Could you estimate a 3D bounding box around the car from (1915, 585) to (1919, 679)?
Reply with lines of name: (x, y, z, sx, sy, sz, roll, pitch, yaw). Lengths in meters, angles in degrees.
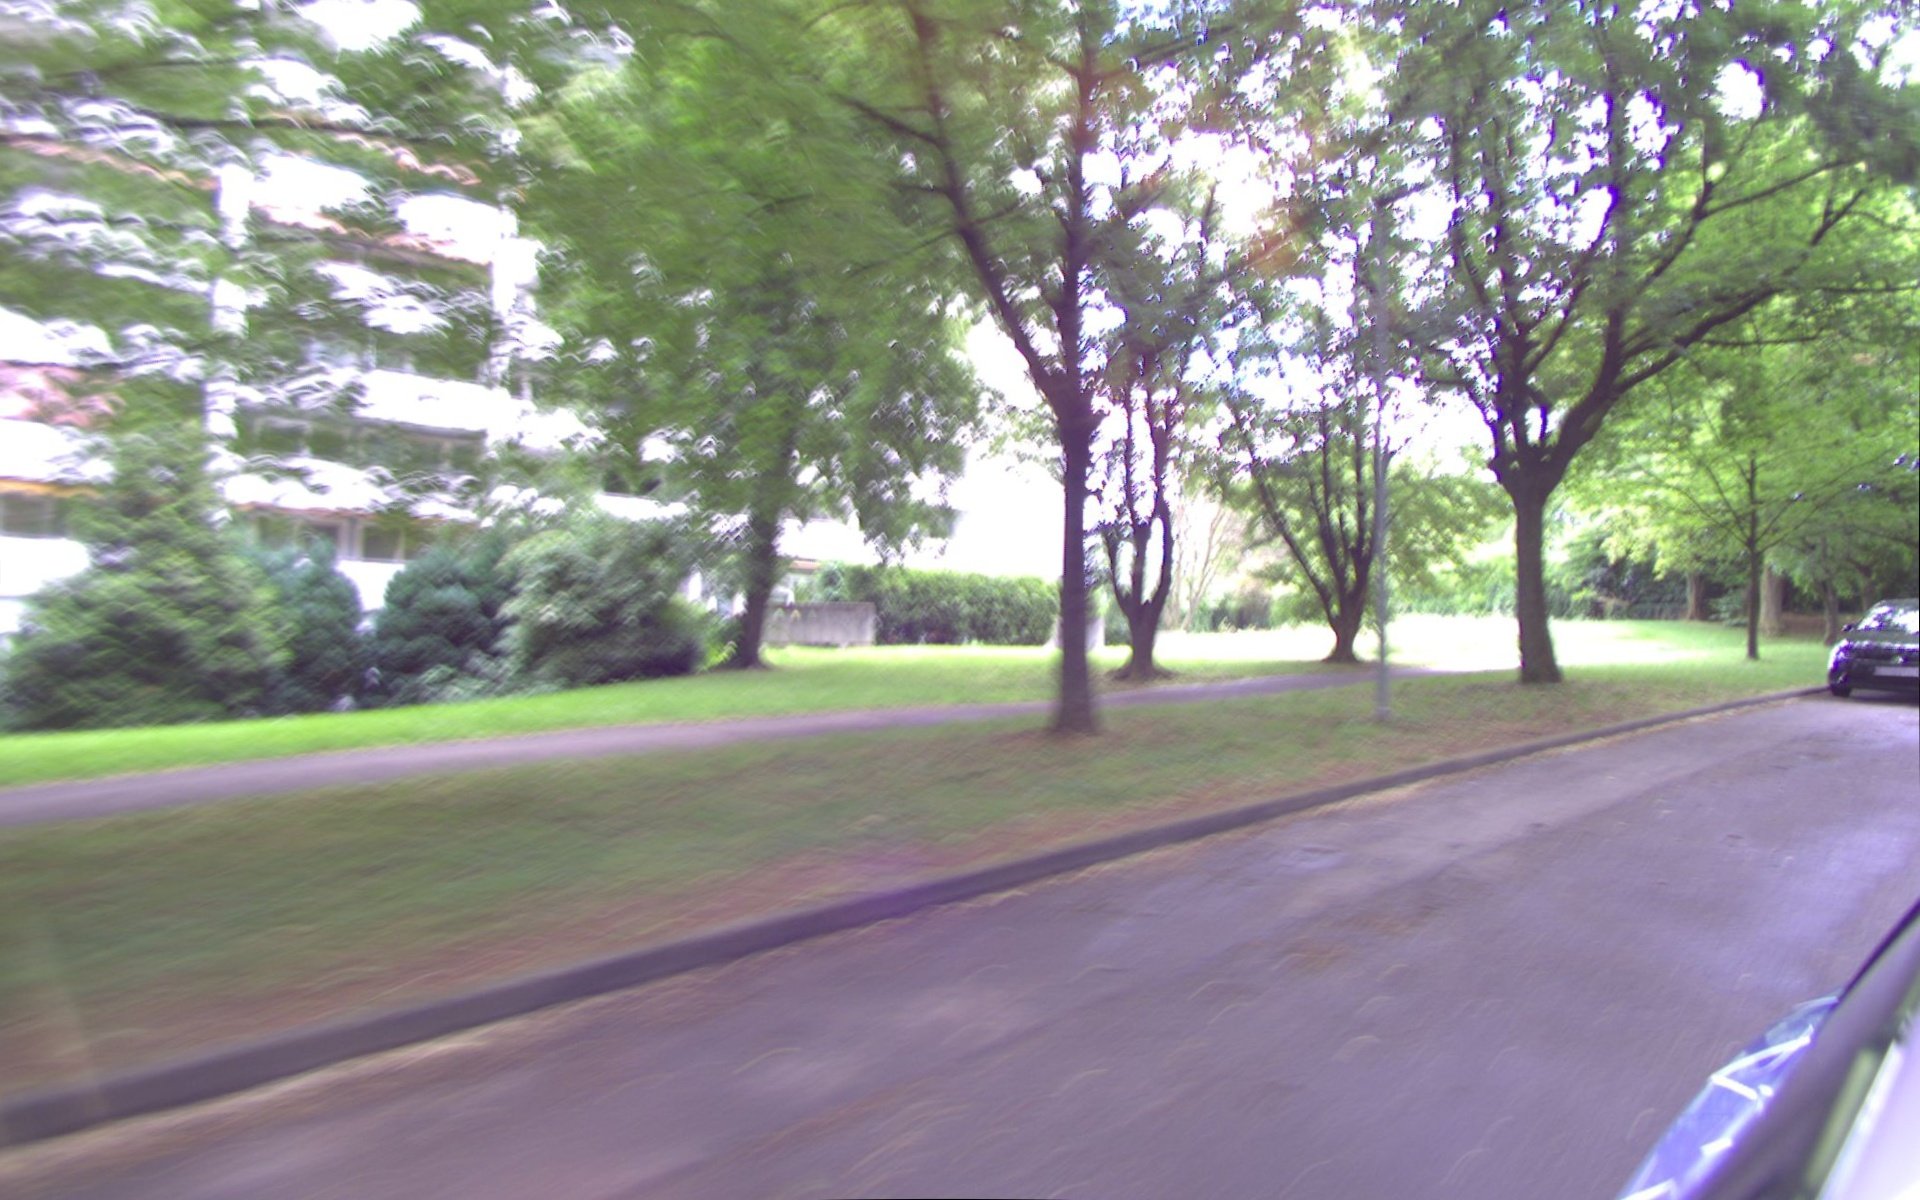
car: (19.137, 0.535, 17.994, 4.640, 1.632, 1.920, 0, -2, -31)

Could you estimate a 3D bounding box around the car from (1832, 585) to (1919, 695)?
car: (14.486, 0.552, 14.891, 3.825, 1.483, 1.686, 0, -2, -37)
